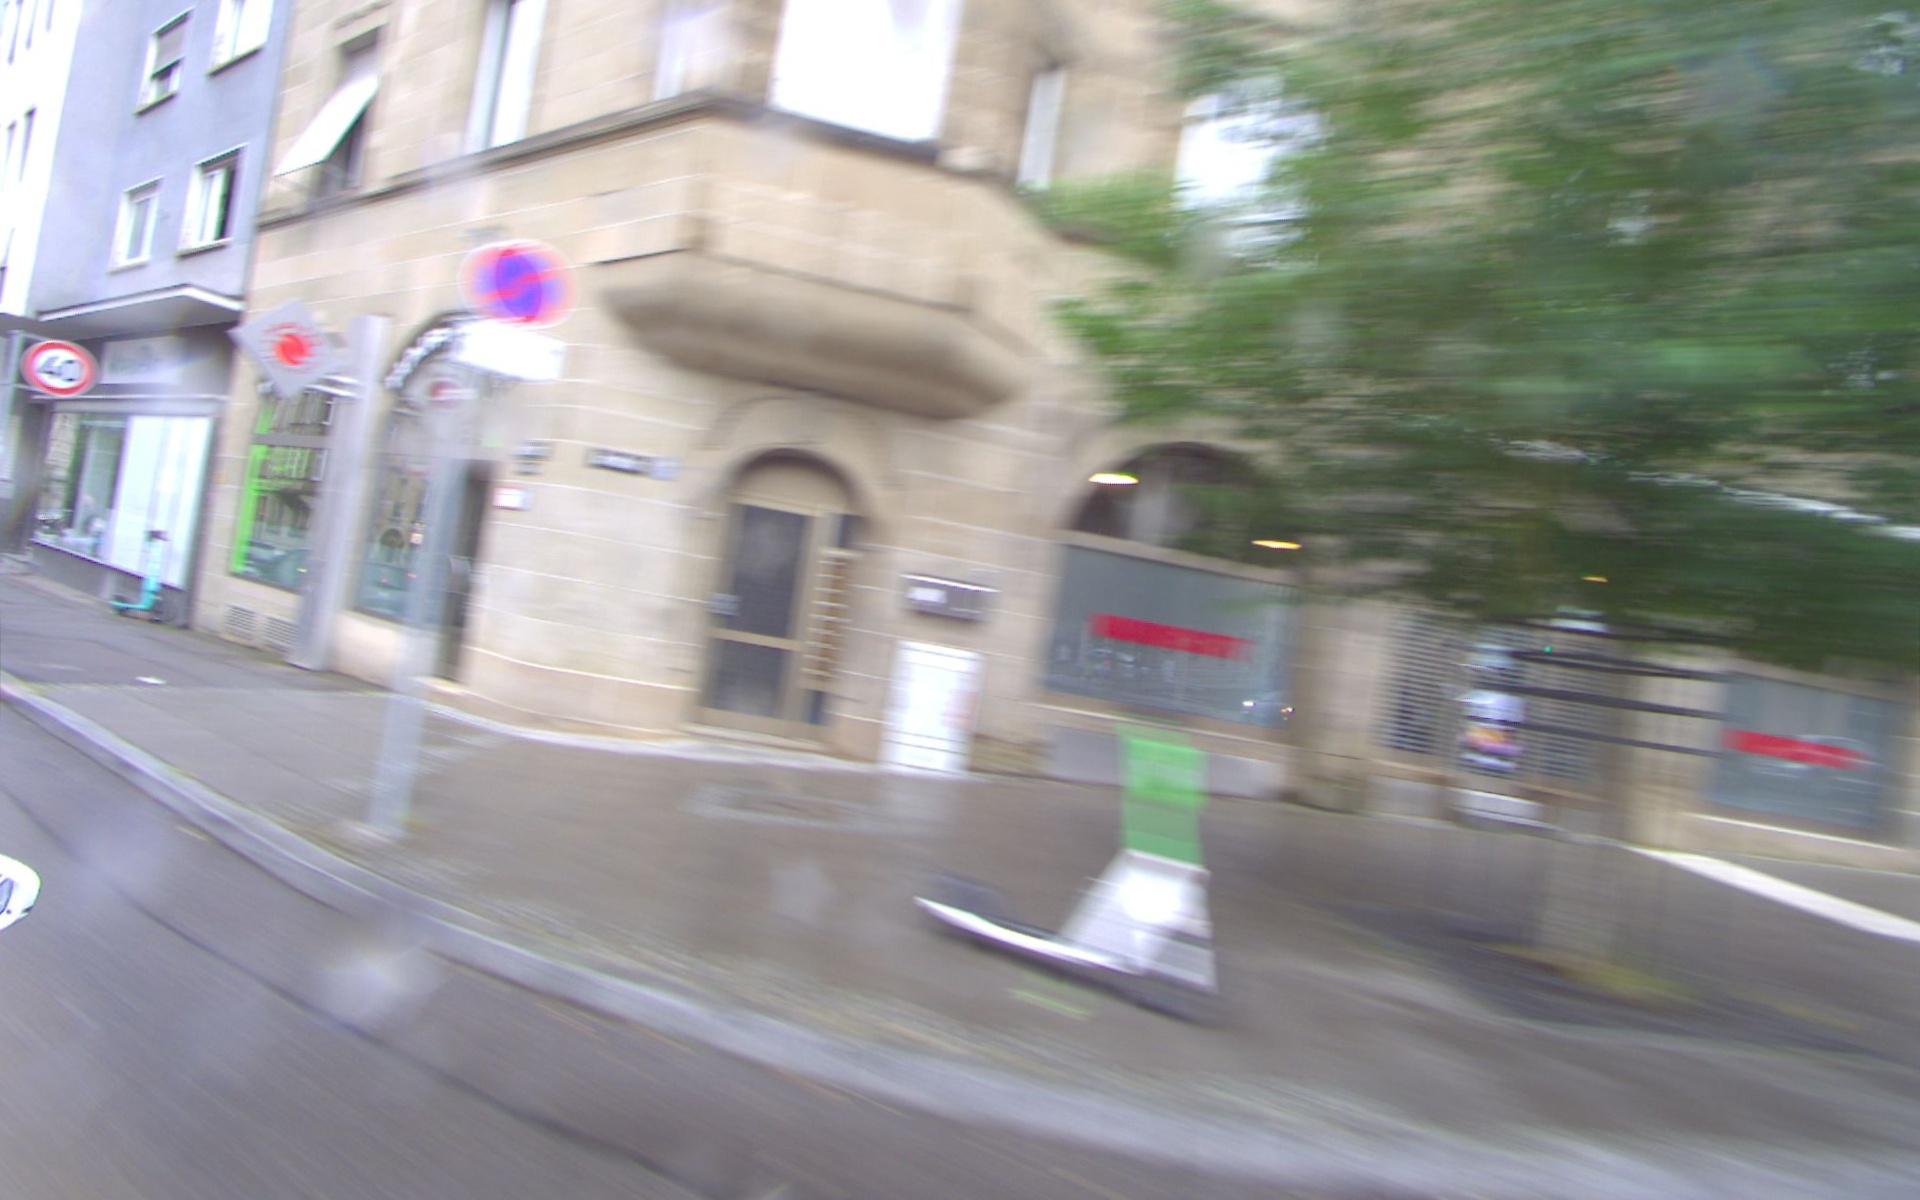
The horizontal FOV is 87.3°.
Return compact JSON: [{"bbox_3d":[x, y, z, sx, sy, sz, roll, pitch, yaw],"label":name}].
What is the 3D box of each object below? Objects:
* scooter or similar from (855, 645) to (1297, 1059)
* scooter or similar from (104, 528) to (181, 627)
[{"bbox_3d":[0.443,0.901,4.082,1.527,1.224,0.639,7,-1,32],"label":"scooter or similar"},{"bbox_3d":[-11.192,-0.318,13.767,1.089,1.230,0.395,7,-1,35],"label":"scooter or similar"}]
